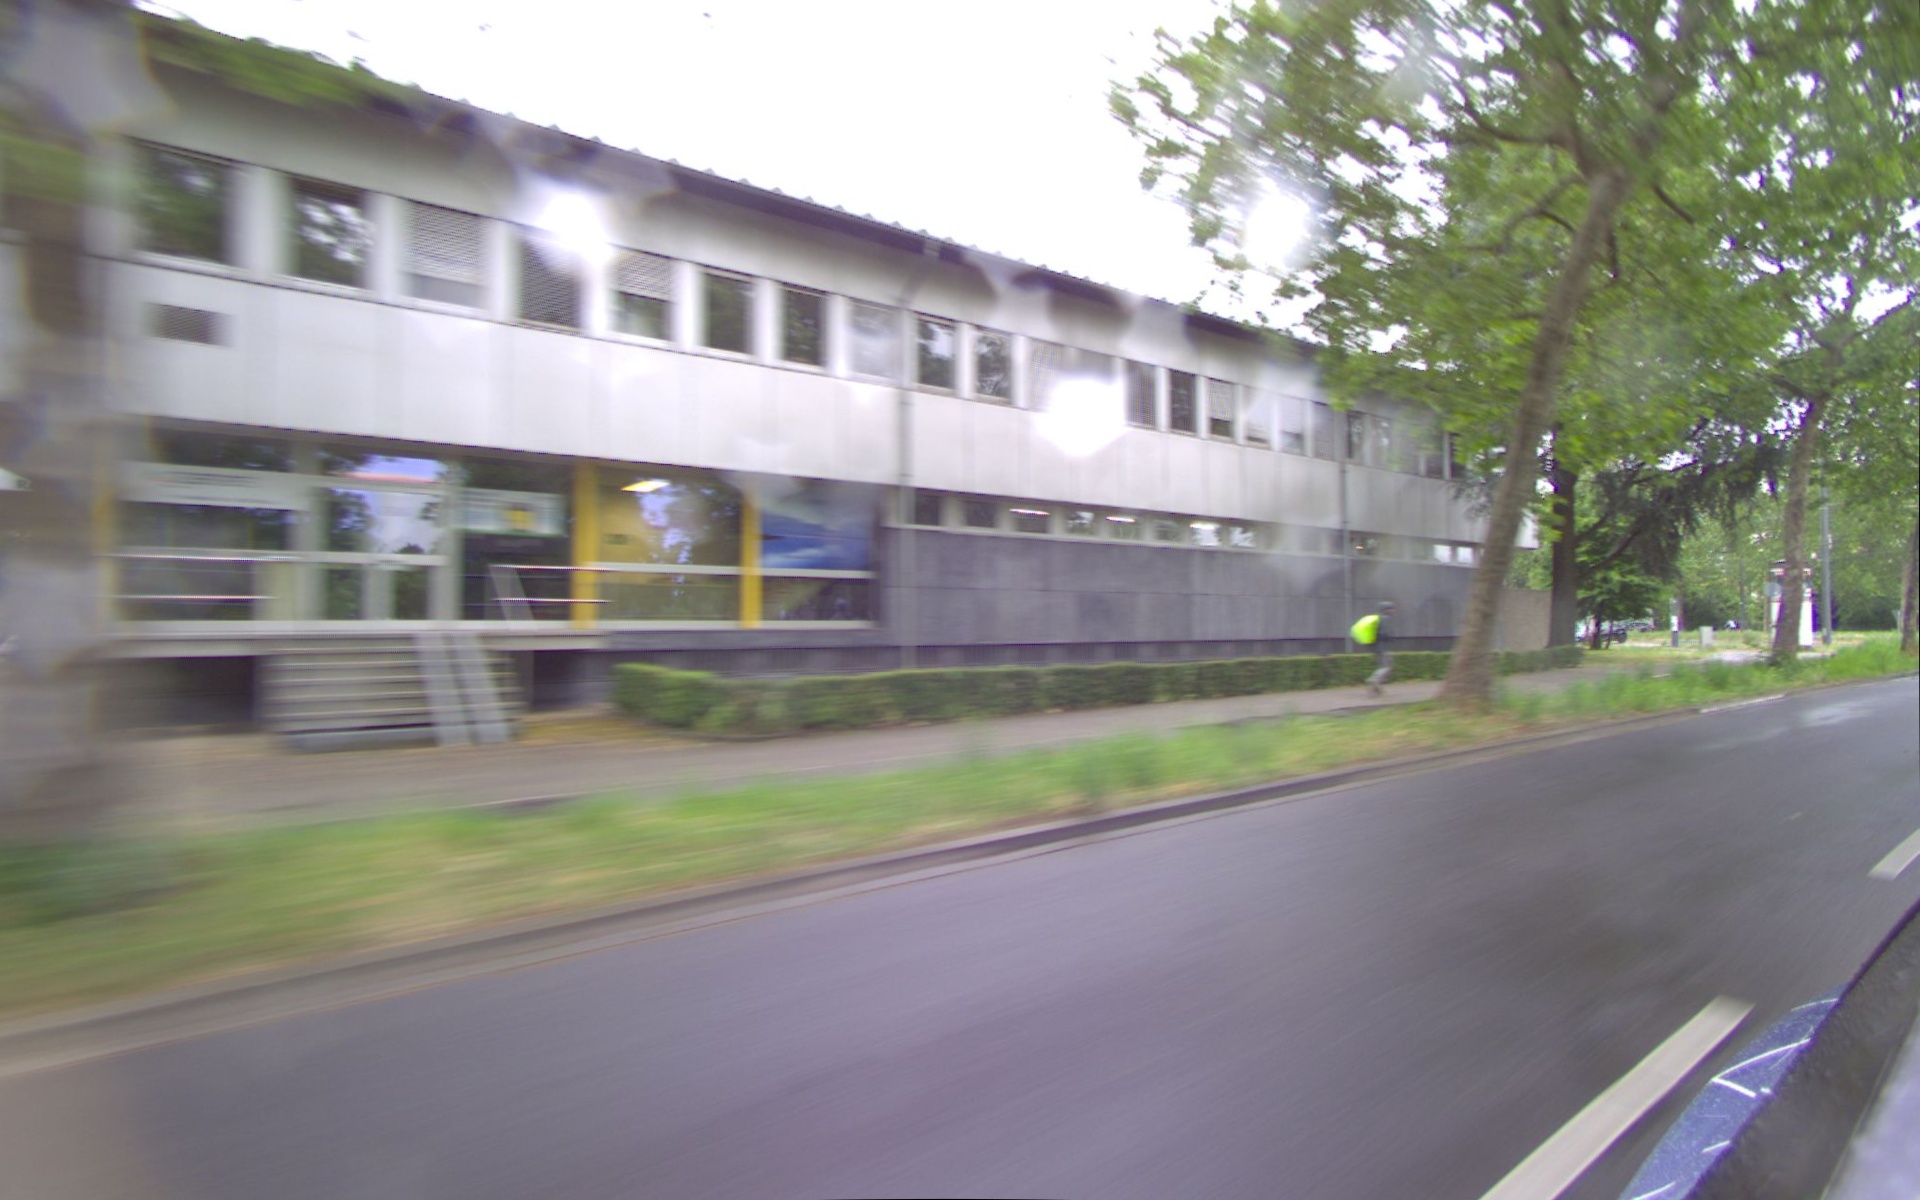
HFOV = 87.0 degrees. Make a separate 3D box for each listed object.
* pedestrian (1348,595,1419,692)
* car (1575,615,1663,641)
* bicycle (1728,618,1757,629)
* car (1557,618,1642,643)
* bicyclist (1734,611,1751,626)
[{"bbox_3d":[7.758,0.786,18.554,0.882,1.717,0.833,1,-2,-33],"label":"pedestrian"},{"bbox_3d":[43.234,1.820,66.543,4.466,1.650,1.986,-1,-1,21],"label":"car"},{"bbox_3d":[61.680,1.834,79.800,0.669,0.896,1.868,0,-1,-10],"label":"bicycle"},{"bbox_3d":[43.374,2.071,68.772,4.466,1.650,1.986,-1,-1,21],"label":"car"},{"bbox_3d":[61.672,1.440,79.770,0.669,1.159,0.745,0,-1,-10],"label":"bicyclist"}]
